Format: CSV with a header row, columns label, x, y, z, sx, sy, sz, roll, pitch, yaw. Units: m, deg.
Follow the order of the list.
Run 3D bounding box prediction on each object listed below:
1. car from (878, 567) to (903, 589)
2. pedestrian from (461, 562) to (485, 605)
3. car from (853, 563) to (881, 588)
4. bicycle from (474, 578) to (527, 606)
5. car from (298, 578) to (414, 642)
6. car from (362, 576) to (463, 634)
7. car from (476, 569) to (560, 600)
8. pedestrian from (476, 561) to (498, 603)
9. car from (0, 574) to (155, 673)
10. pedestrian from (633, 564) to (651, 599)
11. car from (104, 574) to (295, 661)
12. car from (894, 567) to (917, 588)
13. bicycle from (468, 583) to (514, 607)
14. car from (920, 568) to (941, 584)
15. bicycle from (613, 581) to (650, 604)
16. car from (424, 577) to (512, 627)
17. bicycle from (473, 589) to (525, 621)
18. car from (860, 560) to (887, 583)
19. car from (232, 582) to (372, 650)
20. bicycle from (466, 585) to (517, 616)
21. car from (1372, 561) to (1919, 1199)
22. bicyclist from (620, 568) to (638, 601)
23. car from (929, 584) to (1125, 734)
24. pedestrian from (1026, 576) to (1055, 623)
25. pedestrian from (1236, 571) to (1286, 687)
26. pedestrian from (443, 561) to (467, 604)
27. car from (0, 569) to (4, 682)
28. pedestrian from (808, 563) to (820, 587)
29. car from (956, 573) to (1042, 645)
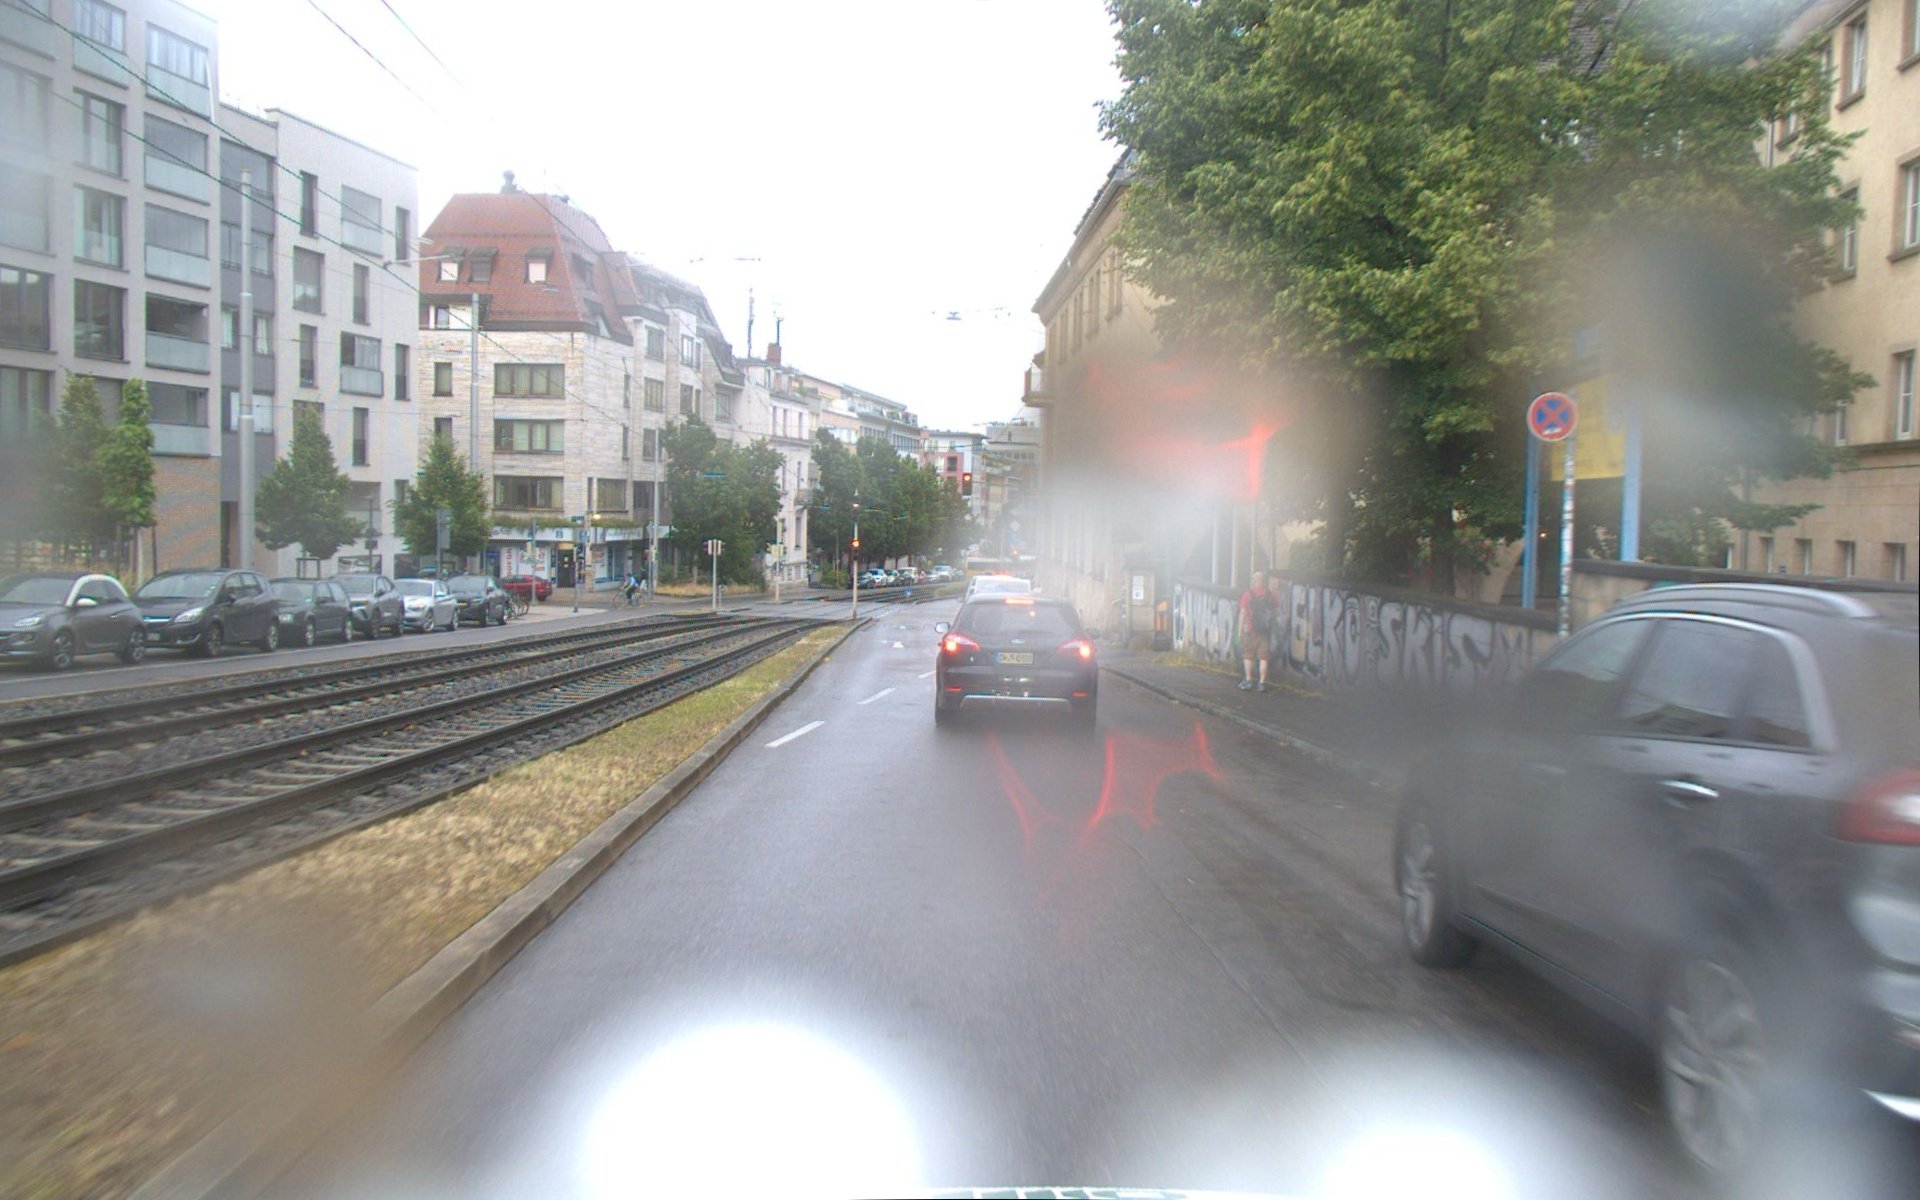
label,x,y,z,sx,sy,sz,roll,pitch,yaw
car,-6.491,-2.055,154.612,1.952,2.049,4.002,1,1,3
pedestrian,-23.635,-0.799,80.272,0.923,2.049,0.764,1,1,-6
car,-8.000,-2.097,141.975,1.952,2.049,4.002,1,1,3
bicycle,-18.031,-0.321,64.880,1.914,1.045,0.719,2,1,-11
car,-14.976,0.220,41.210,1.738,1.530,3.918,0,0,-5
car,-15.161,0.110,45.984,1.738,1.530,4.080,0,0,-5
car,-24.224,-0.855,90.754,4.045,1.596,1.825,1,1,7
pedestrian,-23.488,-0.903,82.144,0.923,2.049,0.764,1,1,-6
car,-14.337,0.334,26.194,1.517,1.460,3.450,0,0,-1
pedestrian,-18.195,-1.052,94.580,0.887,1.965,0.824,1,1,-5
car,-14.289,0.290,31.354,1.684,1.539,4.318,0,0,-1
car,-5.406,-2.220,165.530,1.952,2.049,4.002,1,1,3
bicycle,-18.038,-0.186,63.664,1.620,0.881,0.567,2,1,-12
car,-3.159,-2.616,178.715,1.952,1.691,4.002,1,1,3
bicycle,-16.200,-0.388,81.613,1.783,1.082,0.451,1,1,-38
car,-15.637,0.047,52.775,1.874,1.530,4.233,0,0,-5
bicycle,-16.455,0.193,59.080,1.767,1.082,0.455,2,1,-17
car,-7.749,-2.563,148.275,1.952,2.049,4.002,1,1,3
car,-14.509,0.328,36.672,1.517,1.386,4.009,2,0,-1
bicycle,-17.280,0.023,60.987,1.767,1.082,0.455,2,1,-17
car,2.758,0.702,5.466,1.632,1.550,4.108,2,1,-1
bicyclist,-16.315,-0.763,81.511,0.694,1.601,0.456,1,0,-37
car,0.664,0.610,19.242,1.882,1.505,3.998,2,0,-3
pedestrian,3.186,-0.033,65.441,1.024,1.826,0.901,1,1,-4
pedestrian,4.602,0.435,25.325,0.619,1.751,0.711,0,0,-1
pedestrian,-24.725,-0.861,80.999,0.923,2.049,0.764,1,1,-6
car,-14.273,0.373,21.018,1.729,1.588,4.405,0,0,-1
pedestrian,-12.330,-2.126,139.828,0.925,2.049,0.763,1,1,-11
car,1.086,0.195,43.733,2.092,1.775,4.220,0,1,3
